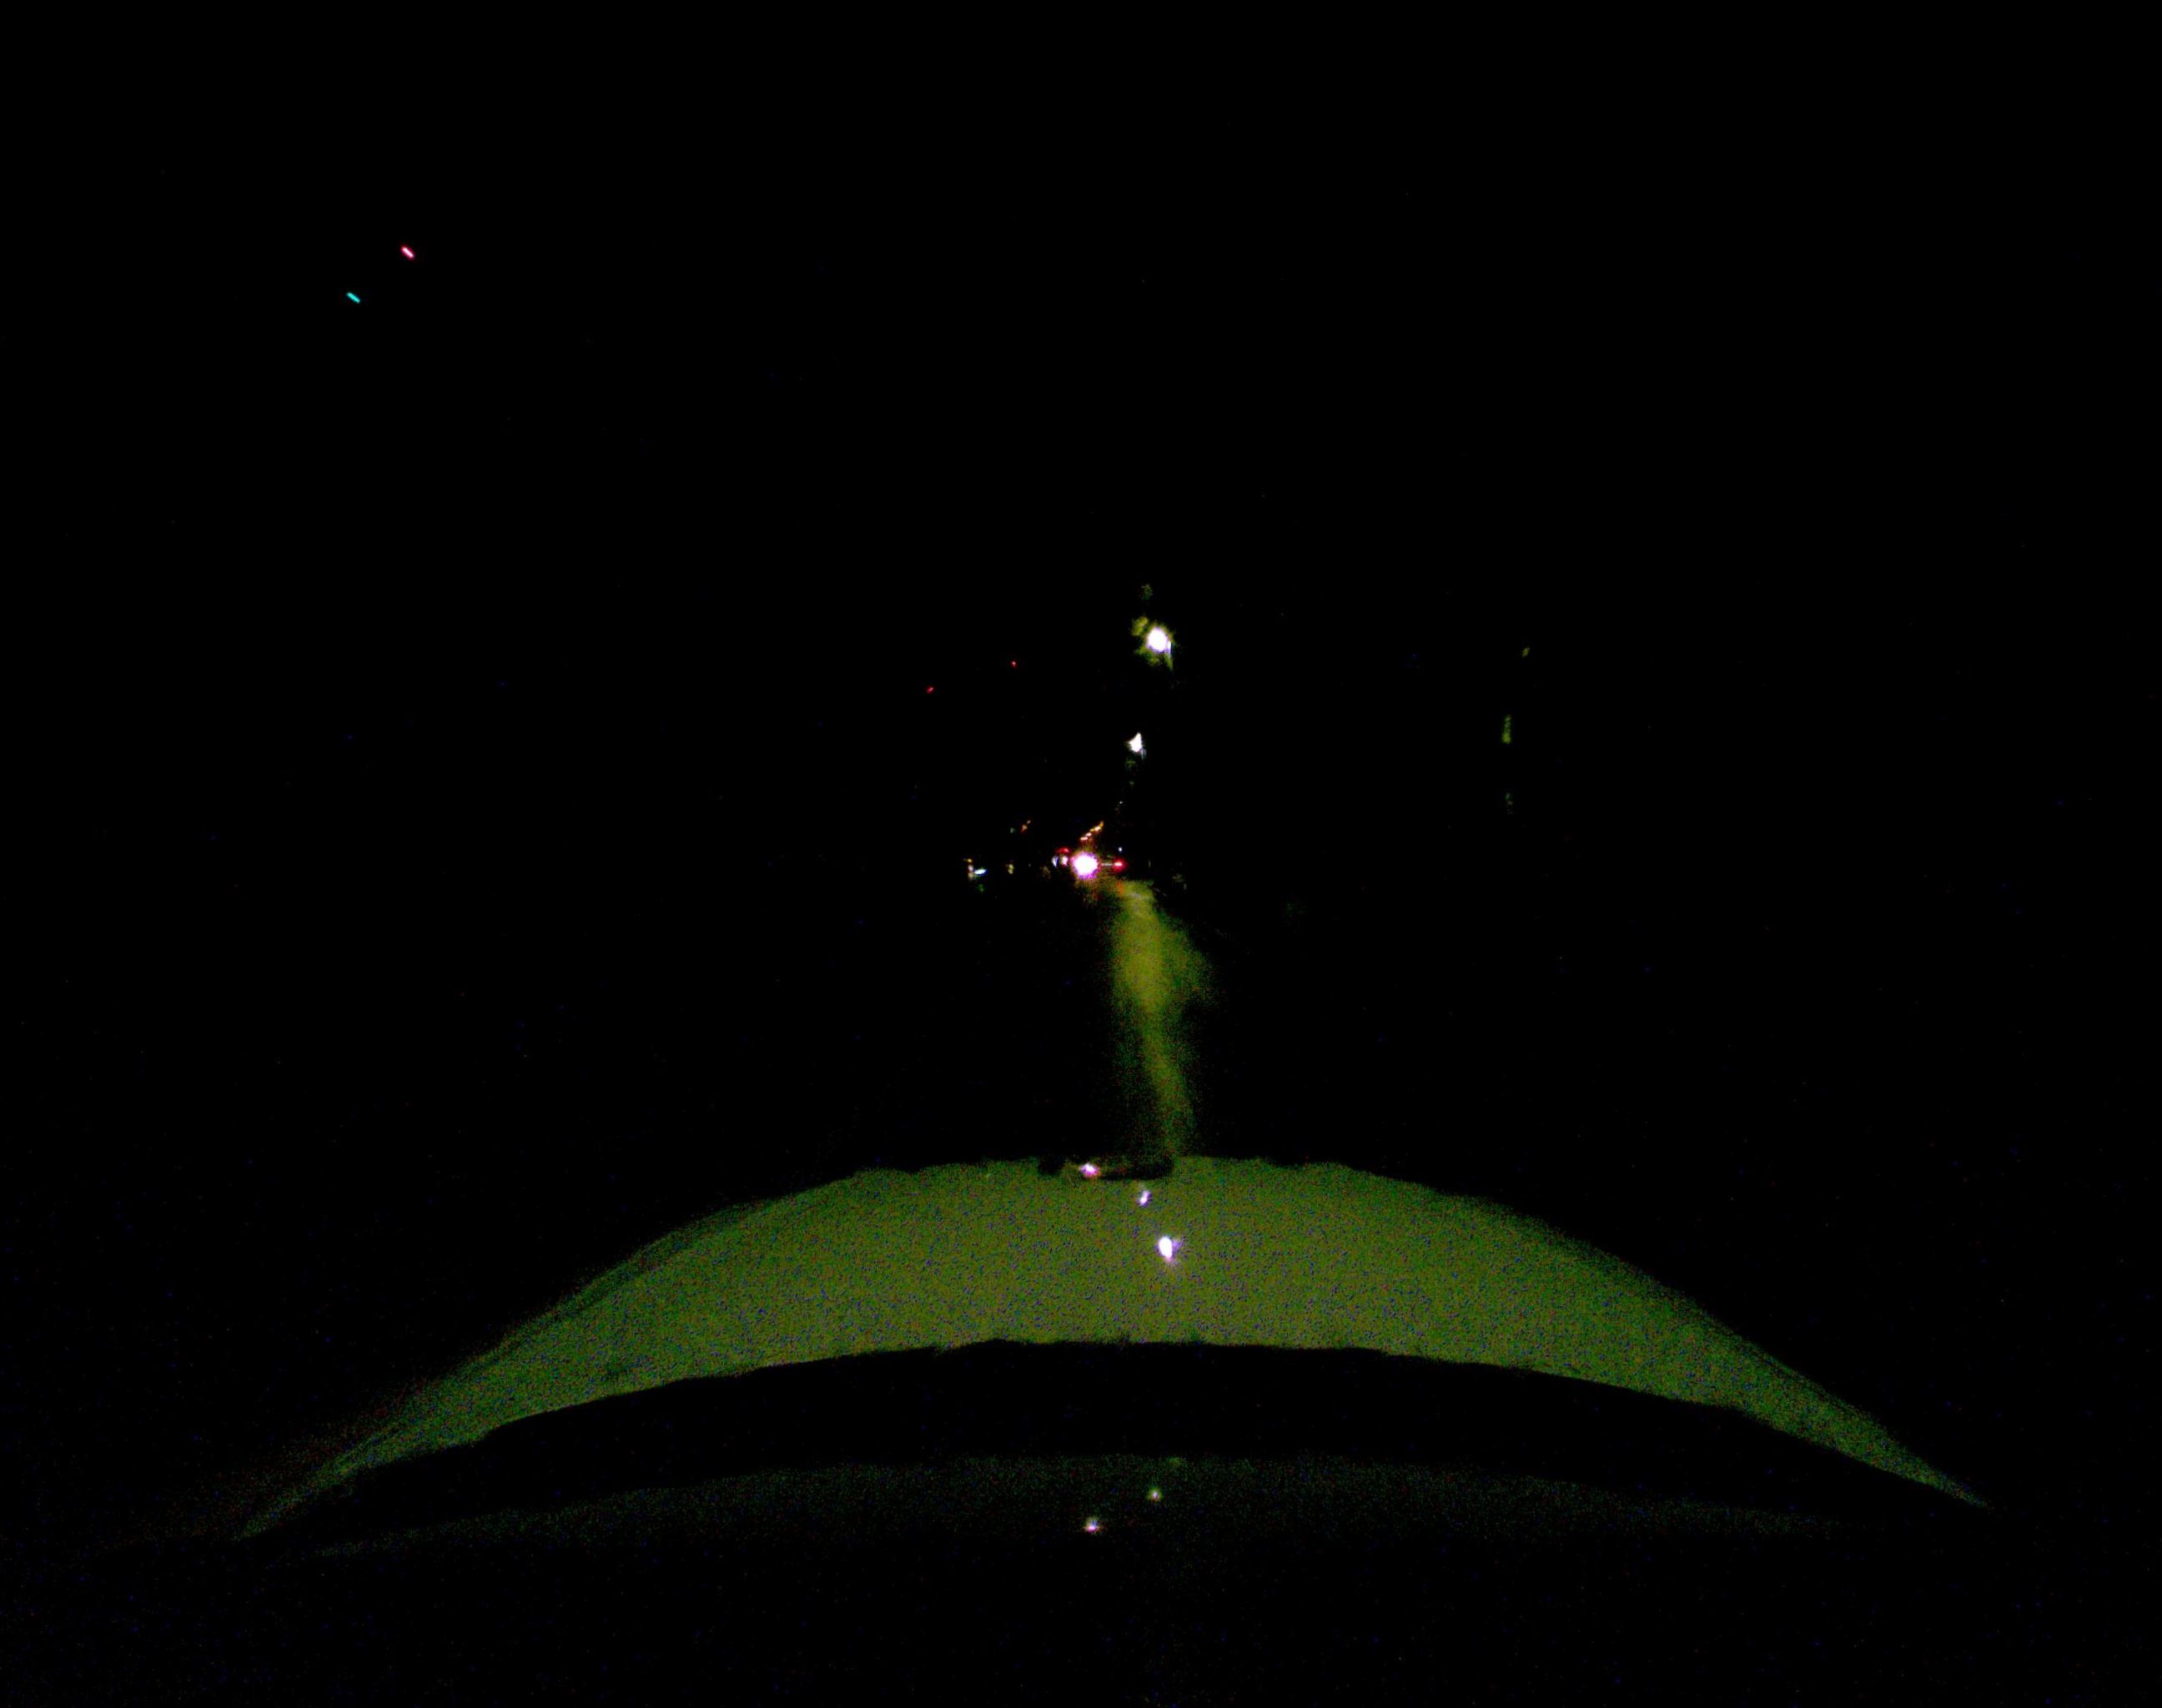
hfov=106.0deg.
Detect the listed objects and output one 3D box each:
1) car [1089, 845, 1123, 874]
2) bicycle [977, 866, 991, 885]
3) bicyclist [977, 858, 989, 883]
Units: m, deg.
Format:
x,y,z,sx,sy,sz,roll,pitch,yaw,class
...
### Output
x,y,z,sx,sy,sz,roll,pitch,yaw,class
1.549,0.336,51.132,1.987,1.684,3.999,-1,0,0,car
-6.437,1.432,54.068,0.628,1.161,2.314,-1,0,1,bicycle
-6.471,1.051,53.657,0.634,1.595,0.960,-1,1,0,bicyclist
